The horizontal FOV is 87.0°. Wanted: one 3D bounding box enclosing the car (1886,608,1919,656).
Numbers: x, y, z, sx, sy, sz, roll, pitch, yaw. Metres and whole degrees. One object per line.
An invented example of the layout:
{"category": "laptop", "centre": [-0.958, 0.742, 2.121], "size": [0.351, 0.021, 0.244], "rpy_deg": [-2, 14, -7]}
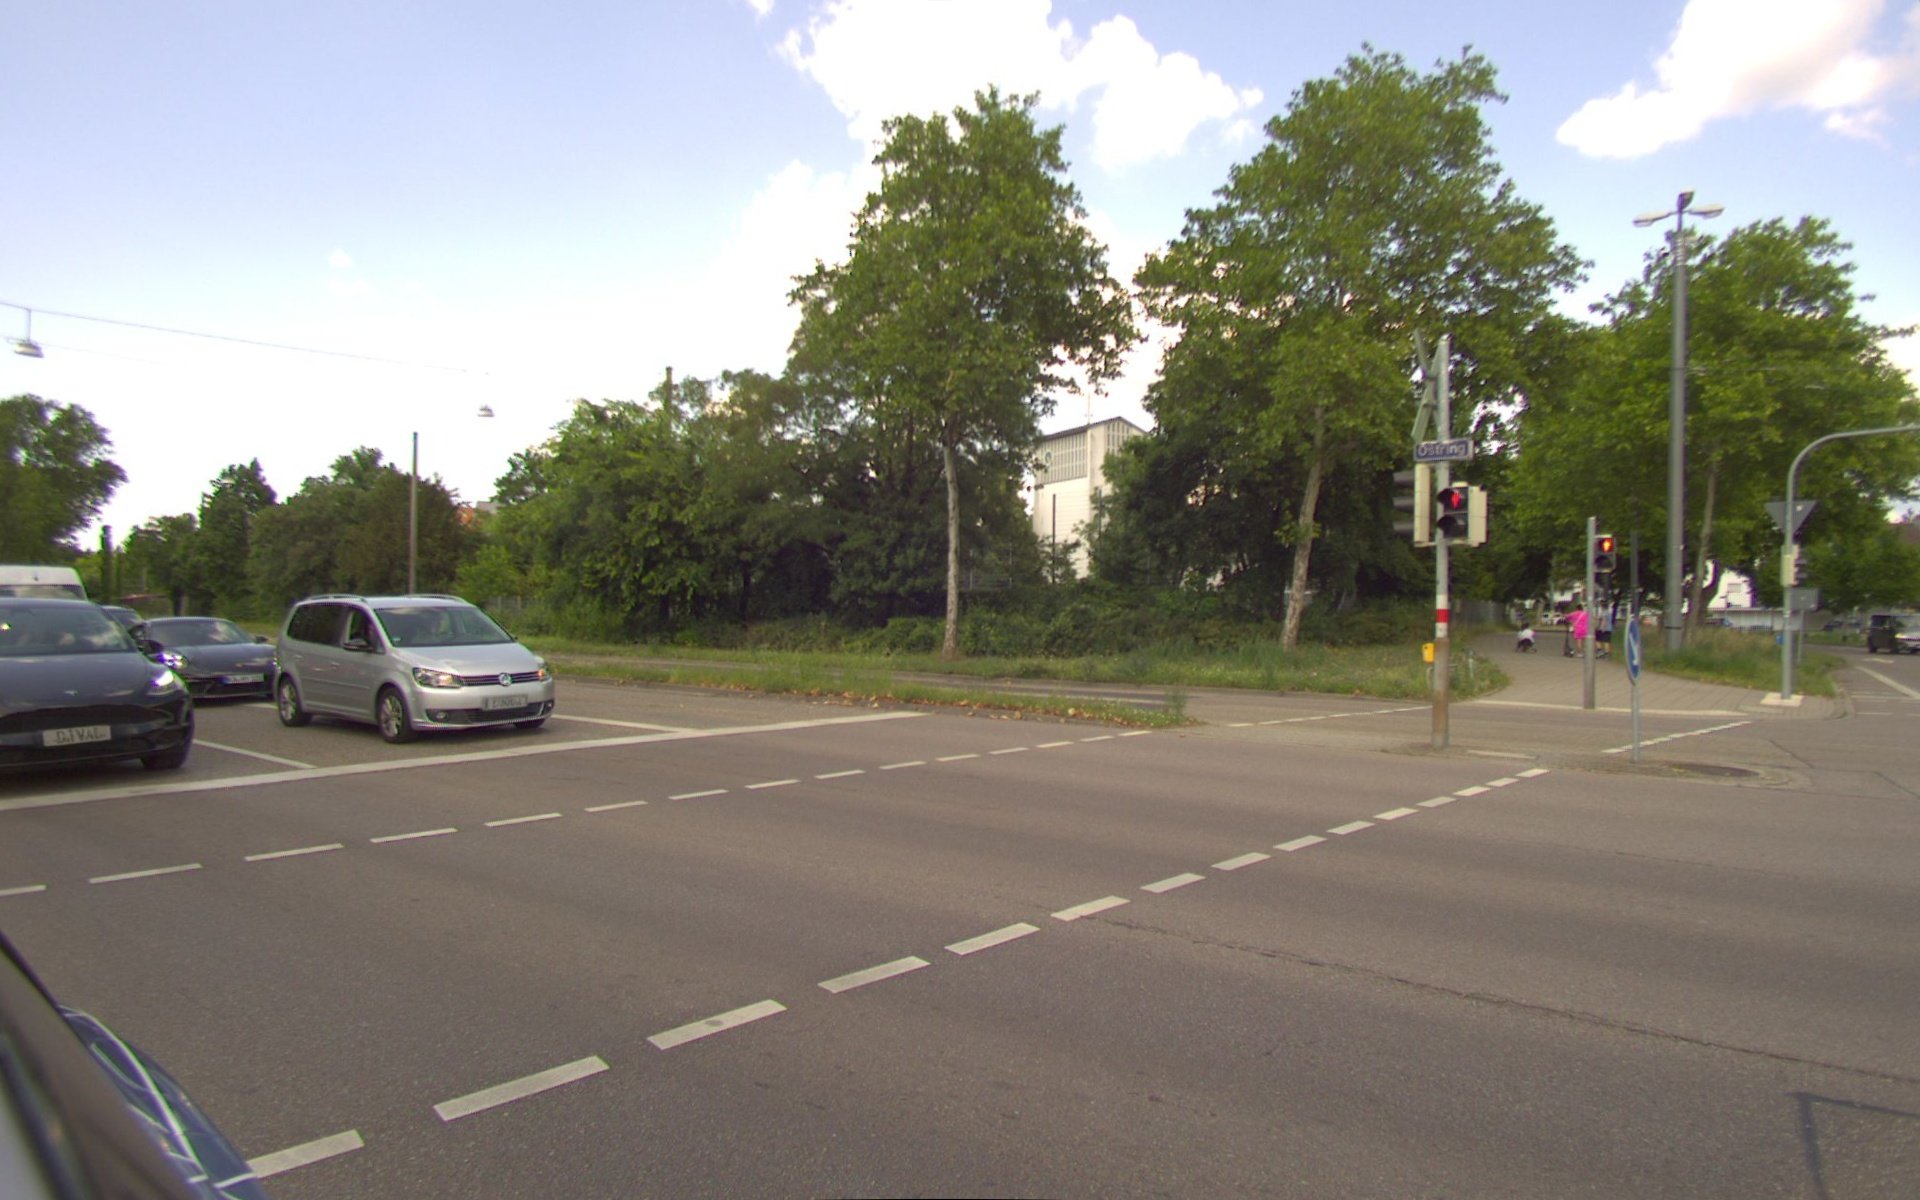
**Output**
{"category": "car", "centre": [45.388, 1.500, 47.850], "size": [1.852, 2.172, 4.329], "rpy_deg": [0, -1, 36]}

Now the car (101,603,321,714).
{"category": "car", "centre": [-12.061, 0.833, 16.222], "size": [3.993, 1.519, 1.782], "rpy_deg": [0, 1, 37]}

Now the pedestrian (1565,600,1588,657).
{"category": "pedestrian", "centre": [17.873, 0.826, 29.347], "size": [0.422, 1.631, 0.587], "rpy_deg": [-1, -2, 44]}

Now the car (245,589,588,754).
{"category": "car", "centre": [-6.738, 0.720, 12.379], "size": [4.492, 1.664, 1.908], "rpy_deg": [0, 1, 36]}

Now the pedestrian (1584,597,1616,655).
{"category": "pedestrian", "centre": [18.186, 0.725, 28.766], "size": [0.633, 1.631, 0.602], "rpy_deg": [-1, -2, 45]}

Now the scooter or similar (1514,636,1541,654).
{"category": "scooter or similar", "centre": [17.412, 1.376, 31.036], "size": [0.610, 0.515, 0.847], "rpy_deg": [-3, -3, 36]}

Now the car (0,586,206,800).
{"category": "car", "centre": [-9.081, 0.729, 9.605], "size": [4.572, 1.664, 1.908], "rpy_deg": [0, 1, 37]}

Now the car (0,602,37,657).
{"category": "car", "centre": [-30.299, 0.890, 31.338], "size": [4.149, 1.630, 1.821], "rpy_deg": [0, 0, 37]}

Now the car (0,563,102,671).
{"category": "car", "centre": [-24.608, 0.406, 26.238], "size": [5.920, 2.549, 2.201], "rpy_deg": [0, 1, 36]}

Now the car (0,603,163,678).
{"category": "car", "centre": [-18.421, 0.778, 21.072], "size": [4.334, 1.385, 1.744], "rpy_deg": [0, 1, 36]}

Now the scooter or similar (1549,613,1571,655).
{"category": "scooter or similar", "centre": [17.637, 0.997, 29.746], "size": [0.764, 1.241, 0.322], "rpy_deg": [1, -3, -44]}

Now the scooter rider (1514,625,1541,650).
{"category": "scooter rider", "centre": [17.409, 1.139, 31.041], "size": [0.611, 0.734, 0.848], "rpy_deg": [-3, -3, 36]}
